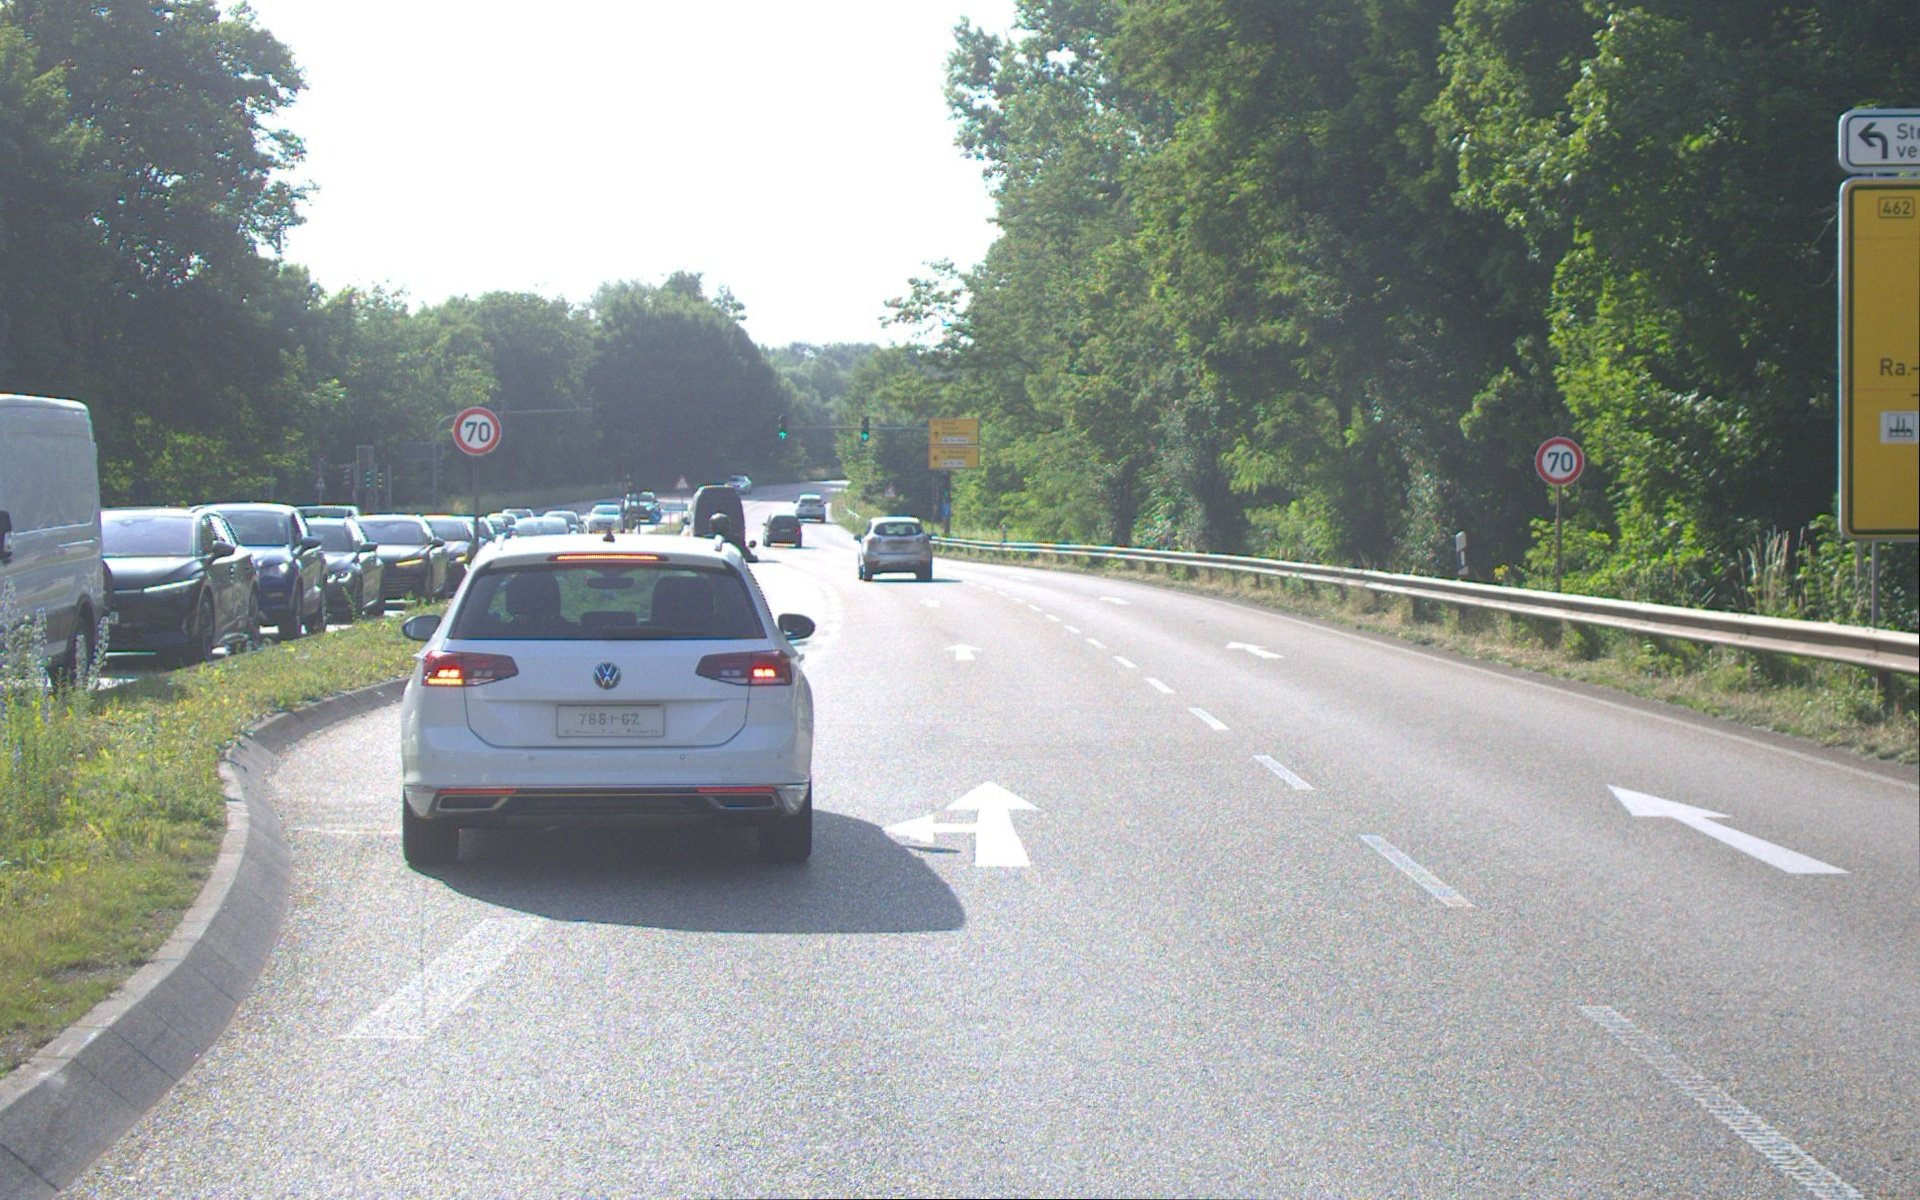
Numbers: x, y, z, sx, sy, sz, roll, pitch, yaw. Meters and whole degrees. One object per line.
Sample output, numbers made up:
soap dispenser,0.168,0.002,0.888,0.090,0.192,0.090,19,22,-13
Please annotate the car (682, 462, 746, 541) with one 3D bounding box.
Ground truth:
car,-9.308,-3.761,130.719,2.209,2.878,7.012,-1,2,-2

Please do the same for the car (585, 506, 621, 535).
car,-18.703,-4.170,180.150,1.788,1.406,4.228,2,2,-5

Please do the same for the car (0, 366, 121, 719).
car,-7.952,-0.438,25.639,2.075,2.525,6.165,-1,2,-2

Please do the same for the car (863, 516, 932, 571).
car,-1.688,-1.520,91.839,1.761,1.375,3.972,2,2,-2

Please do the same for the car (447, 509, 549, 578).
car,-10.050,-1.254,75.031,1.767,1.412,4.435,-1,2,-2

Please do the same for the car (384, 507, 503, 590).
car,-9.448,-0.967,63.128,1.706,1.418,4.212,-1,2,-2

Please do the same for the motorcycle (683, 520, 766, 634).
motorcycle,-3.234,-0.338,47.504,0.909,1.448,2.689,-3,2,0

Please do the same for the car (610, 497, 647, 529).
car,-19.187,-5.067,199.018,2.075,1.757,4.758,-1,2,-5

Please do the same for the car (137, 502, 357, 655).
car,-8.398,-0.309,40.858,1.771,1.663,4.801,-1,2,-2

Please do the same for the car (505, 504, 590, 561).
car,-10.810,-1.797,90.306,1.867,1.412,4.416,-1,2,-2

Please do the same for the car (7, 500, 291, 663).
car,-7.929,-0.249,34.068,1.760,1.451,5.187,-1,2,-2

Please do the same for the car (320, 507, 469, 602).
car,-9.178,-0.778,56.134,1.771,1.418,5.193,-1,2,-2

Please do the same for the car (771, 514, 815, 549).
car,-7.842,-3.226,161.125,1.744,1.532,3.927,2,2,-7

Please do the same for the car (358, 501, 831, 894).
car,-1.661,0.335,16.489,1.869,1.516,4.835,2,2,-4

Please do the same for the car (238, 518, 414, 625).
car,-8.946,-0.444,48.861,1.771,1.375,4.844,-1,2,-2

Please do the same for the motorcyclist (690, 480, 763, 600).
motorcyclist,-3.222,-0.834,47.574,0.883,1.610,1.290,2,2,0
